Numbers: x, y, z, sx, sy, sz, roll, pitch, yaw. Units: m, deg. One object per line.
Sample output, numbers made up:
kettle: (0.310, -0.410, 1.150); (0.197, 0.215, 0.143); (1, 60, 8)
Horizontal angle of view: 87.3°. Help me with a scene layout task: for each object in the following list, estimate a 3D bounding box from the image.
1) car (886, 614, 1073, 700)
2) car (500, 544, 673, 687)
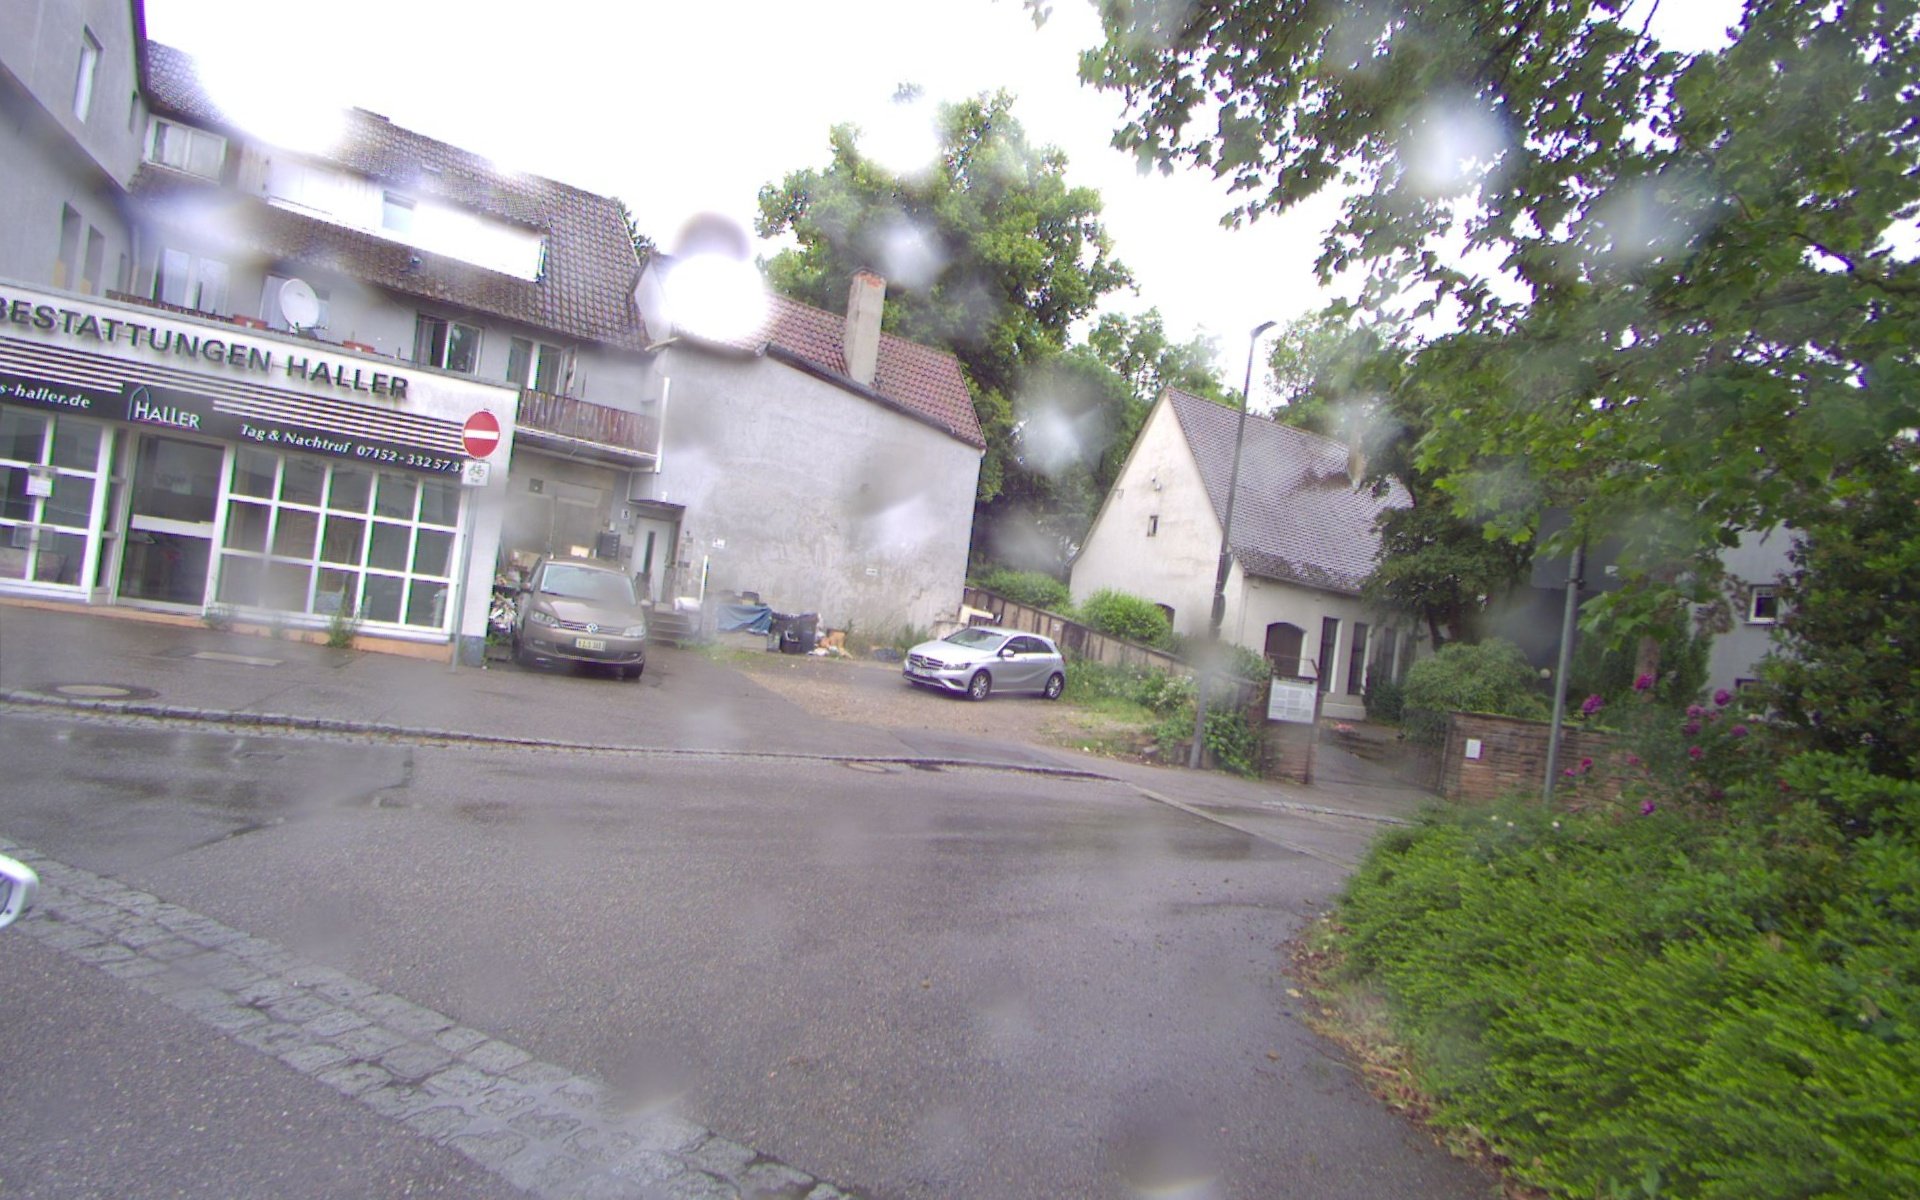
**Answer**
car: (0.506, 1.265, 21.397); (1.717, 1.406, 4.022); (10, 2, 40)
car: (-6.287, 0.140, 16.566); (1.908, 1.749, 4.633); (8, 0, -28)
